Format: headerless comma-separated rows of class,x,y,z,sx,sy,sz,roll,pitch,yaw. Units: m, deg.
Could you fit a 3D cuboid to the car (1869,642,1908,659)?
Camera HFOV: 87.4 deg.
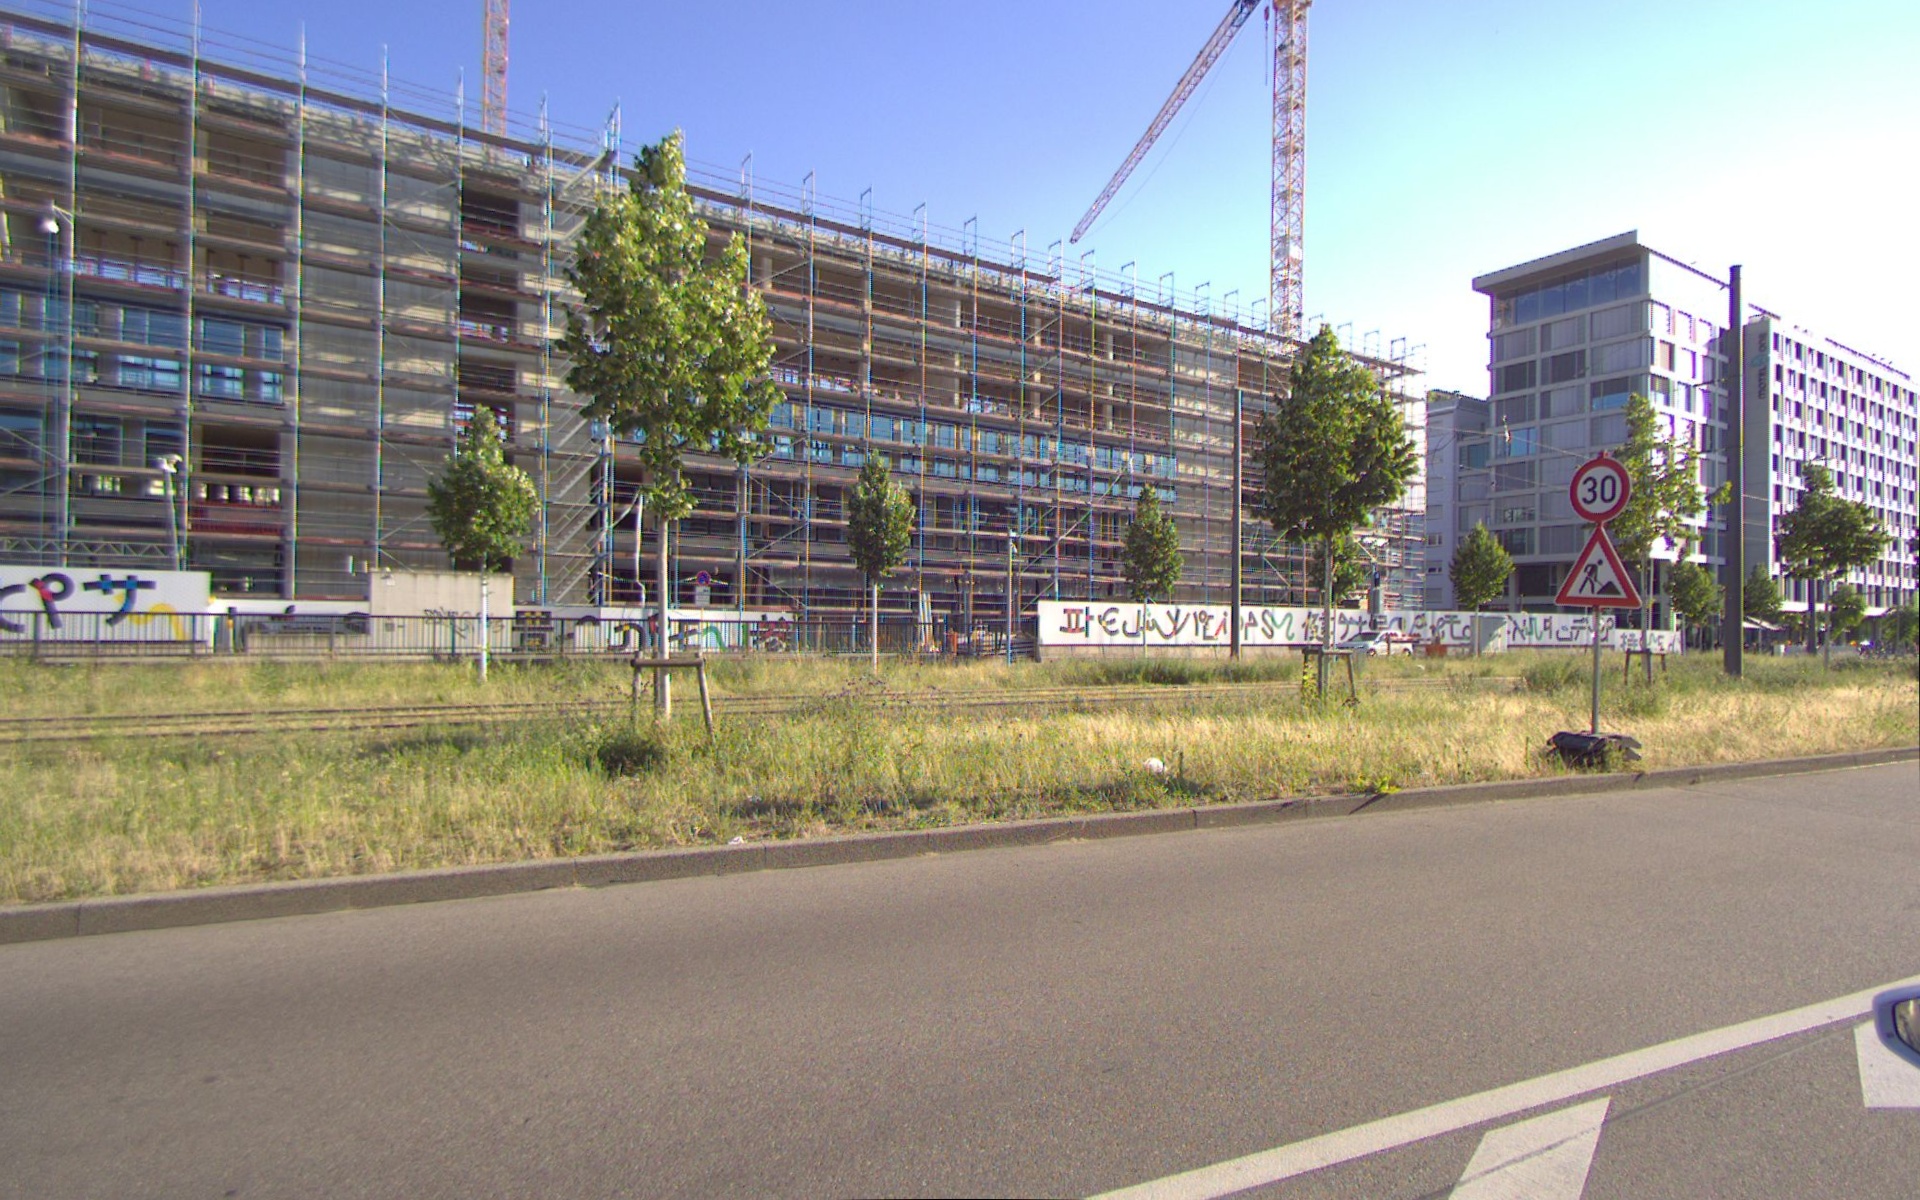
car,84.027,4.592,90.895,3.543,1.461,1.699,2,0,-32

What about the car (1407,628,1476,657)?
car,25.830,2.267,53.895,3.543,1.461,1.699,2,0,-32

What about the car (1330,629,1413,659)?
car,19.468,2.072,47.476,4.045,1.327,1.520,1,-1,-30
